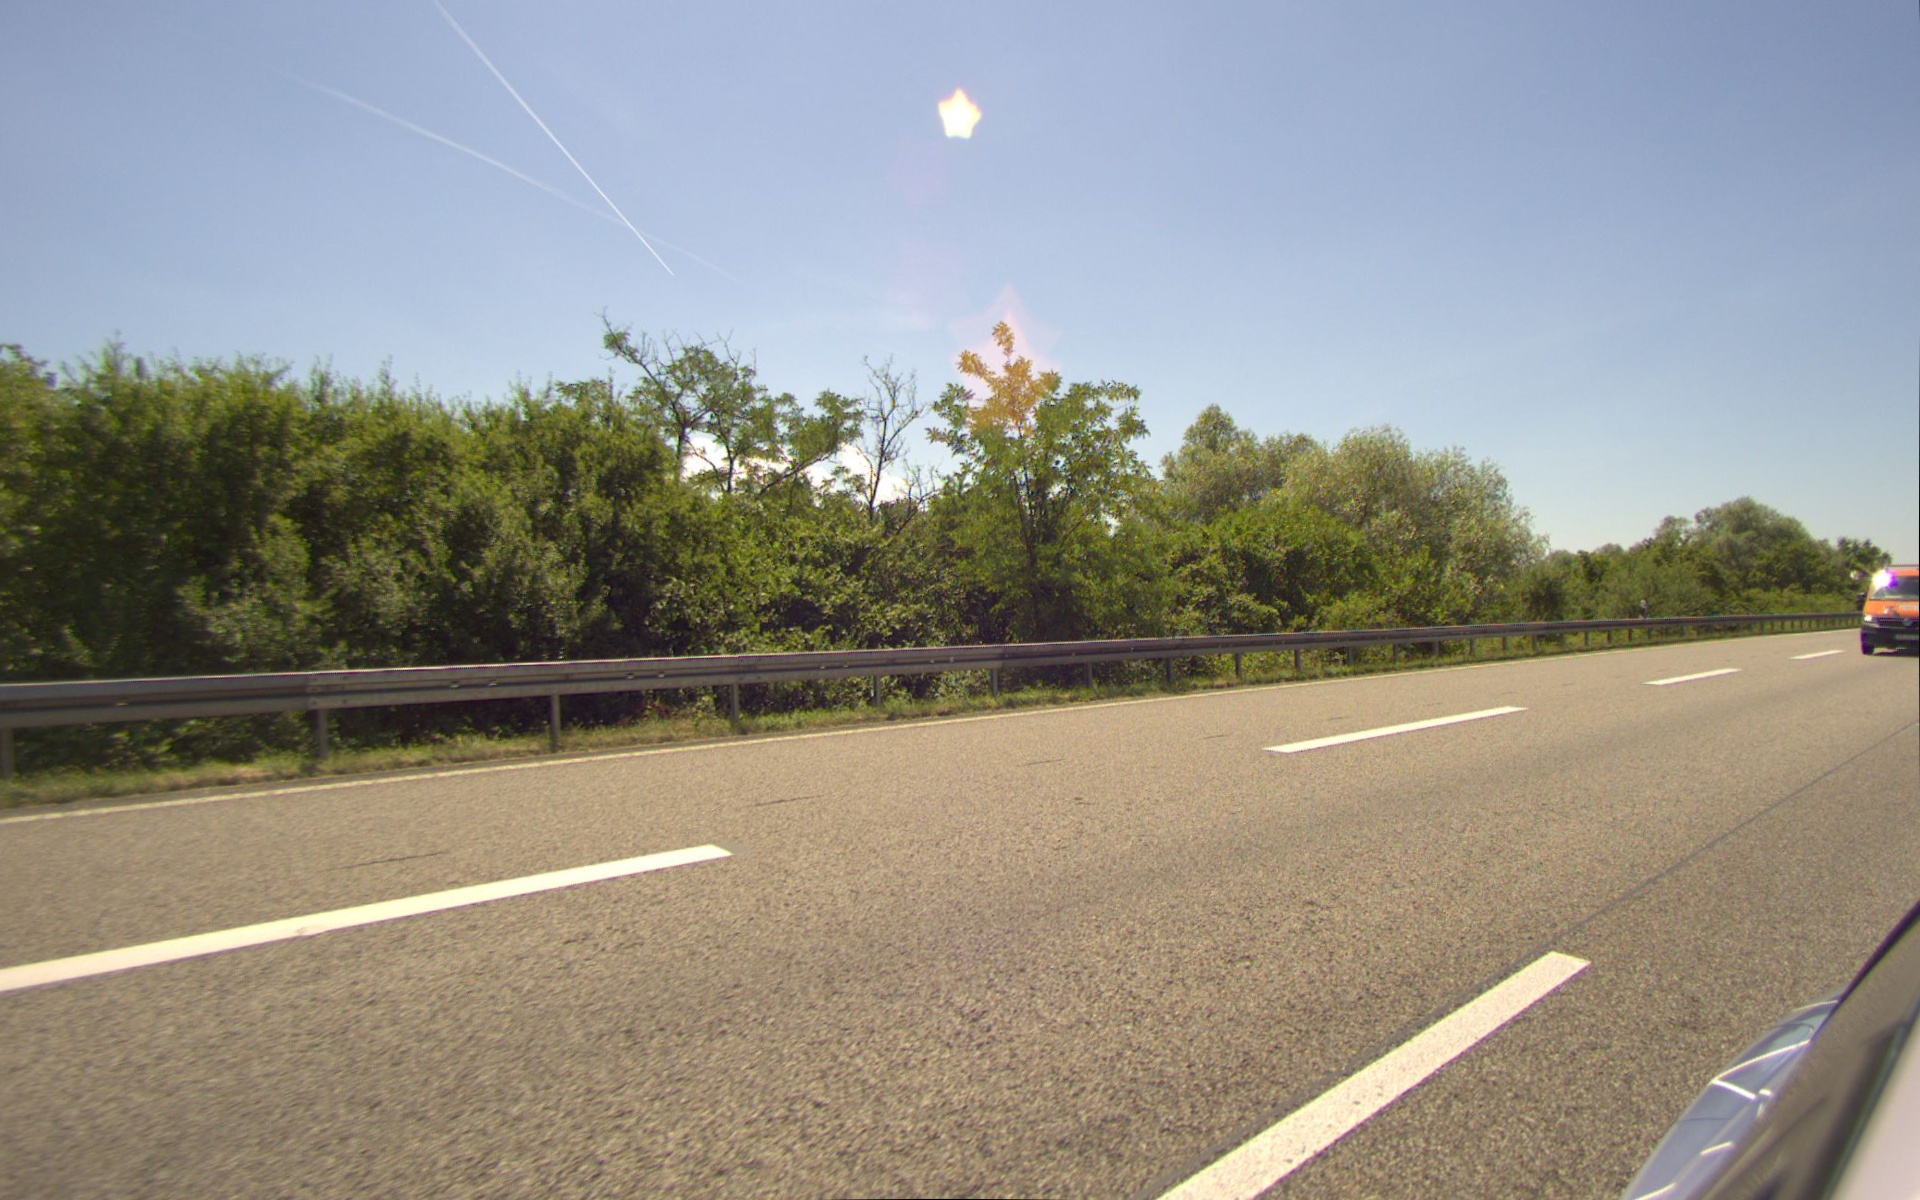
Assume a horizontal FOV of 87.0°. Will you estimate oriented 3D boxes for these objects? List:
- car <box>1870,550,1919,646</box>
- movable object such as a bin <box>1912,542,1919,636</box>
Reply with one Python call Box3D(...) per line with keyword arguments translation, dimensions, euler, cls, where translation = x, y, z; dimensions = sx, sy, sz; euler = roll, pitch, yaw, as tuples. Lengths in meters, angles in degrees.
Box3D(translation=(27.153, -0.016, 27.926), dimensions=(7.096, 2.436, 1.998), euler=(1, -1, -39), cls="car")
Box3D(translation=(31.740, -0.319, 31.711), dimensions=(4.675, 2.851, 2.179), euler=(1, -1, -39), cls="movable object such as a bin")
